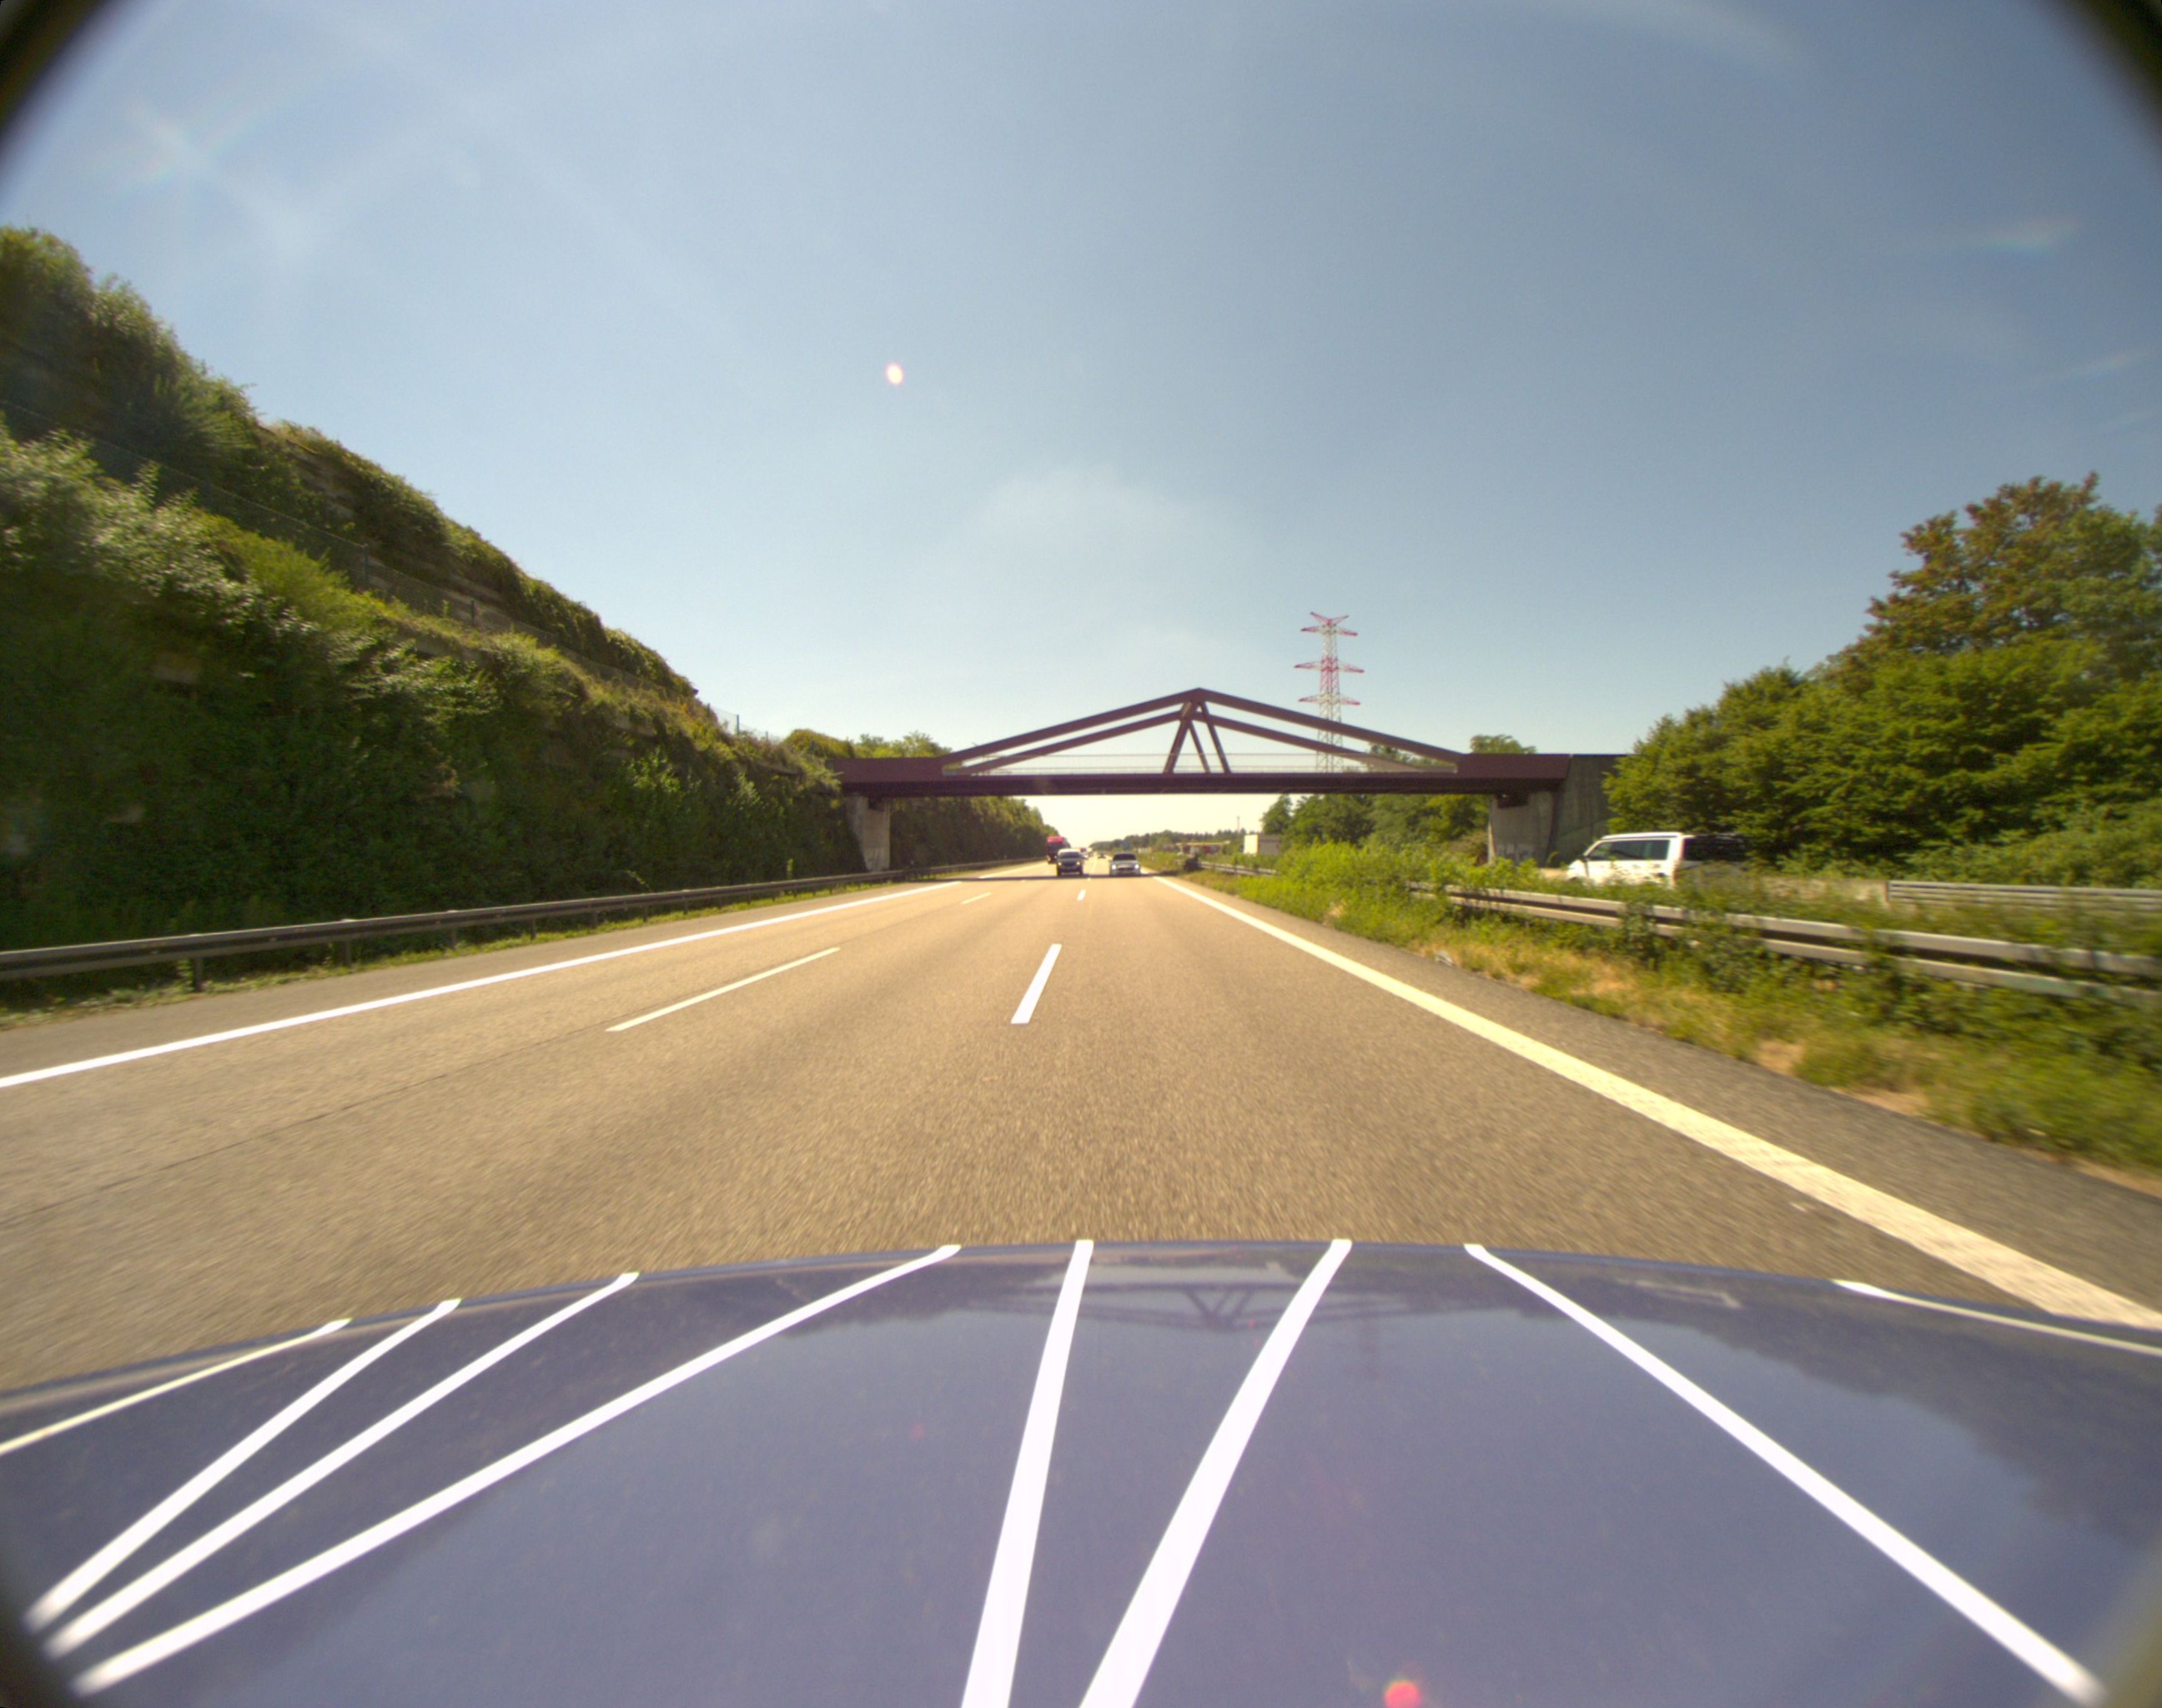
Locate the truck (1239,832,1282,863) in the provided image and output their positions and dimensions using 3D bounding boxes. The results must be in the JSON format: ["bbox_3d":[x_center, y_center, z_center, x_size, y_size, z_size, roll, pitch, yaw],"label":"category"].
[{"bbox_3d":[21.202,-0.759,90.291,2.815,3.516,10.188,1,0,1],"label":"truck"}]

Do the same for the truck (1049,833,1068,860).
[{"bbox_3d":[-3.339,-1.156,113.993,2.505,3.897,7.096,-2,0,0],"label":"truck"}]

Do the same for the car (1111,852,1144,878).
[{"bbox_3d":[2.778,0.644,45.682,1.775,1.410,3.401,-3,0,1],"label":"car"}]

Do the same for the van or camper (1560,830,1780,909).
[{"bbox_3d":[15.265,0.350,20.191,1.970,1.755,5.213,-3,0,3],"label":"van or camper"}]

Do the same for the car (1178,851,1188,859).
[{"bbox_3d":[24.001,0.248,178.385,1.808,1.826,4.257,-3,0,1],"label":"car"}]

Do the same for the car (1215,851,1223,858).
[{"bbox_3d":[34.574,0.143,190.422,1.377,1.604,3.364,-3,0,1],"label":"car"}]

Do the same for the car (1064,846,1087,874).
[{"bbox_3d":[-0.369,0.413,53.015,1.501,1.799,3.394,-3,0,0],"label":"car"}]

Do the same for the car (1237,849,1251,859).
[{"bbox_3d":[29.633,-0.056,138.495,1.704,1.758,4.403,-3,0,3],"label":"car"}]
